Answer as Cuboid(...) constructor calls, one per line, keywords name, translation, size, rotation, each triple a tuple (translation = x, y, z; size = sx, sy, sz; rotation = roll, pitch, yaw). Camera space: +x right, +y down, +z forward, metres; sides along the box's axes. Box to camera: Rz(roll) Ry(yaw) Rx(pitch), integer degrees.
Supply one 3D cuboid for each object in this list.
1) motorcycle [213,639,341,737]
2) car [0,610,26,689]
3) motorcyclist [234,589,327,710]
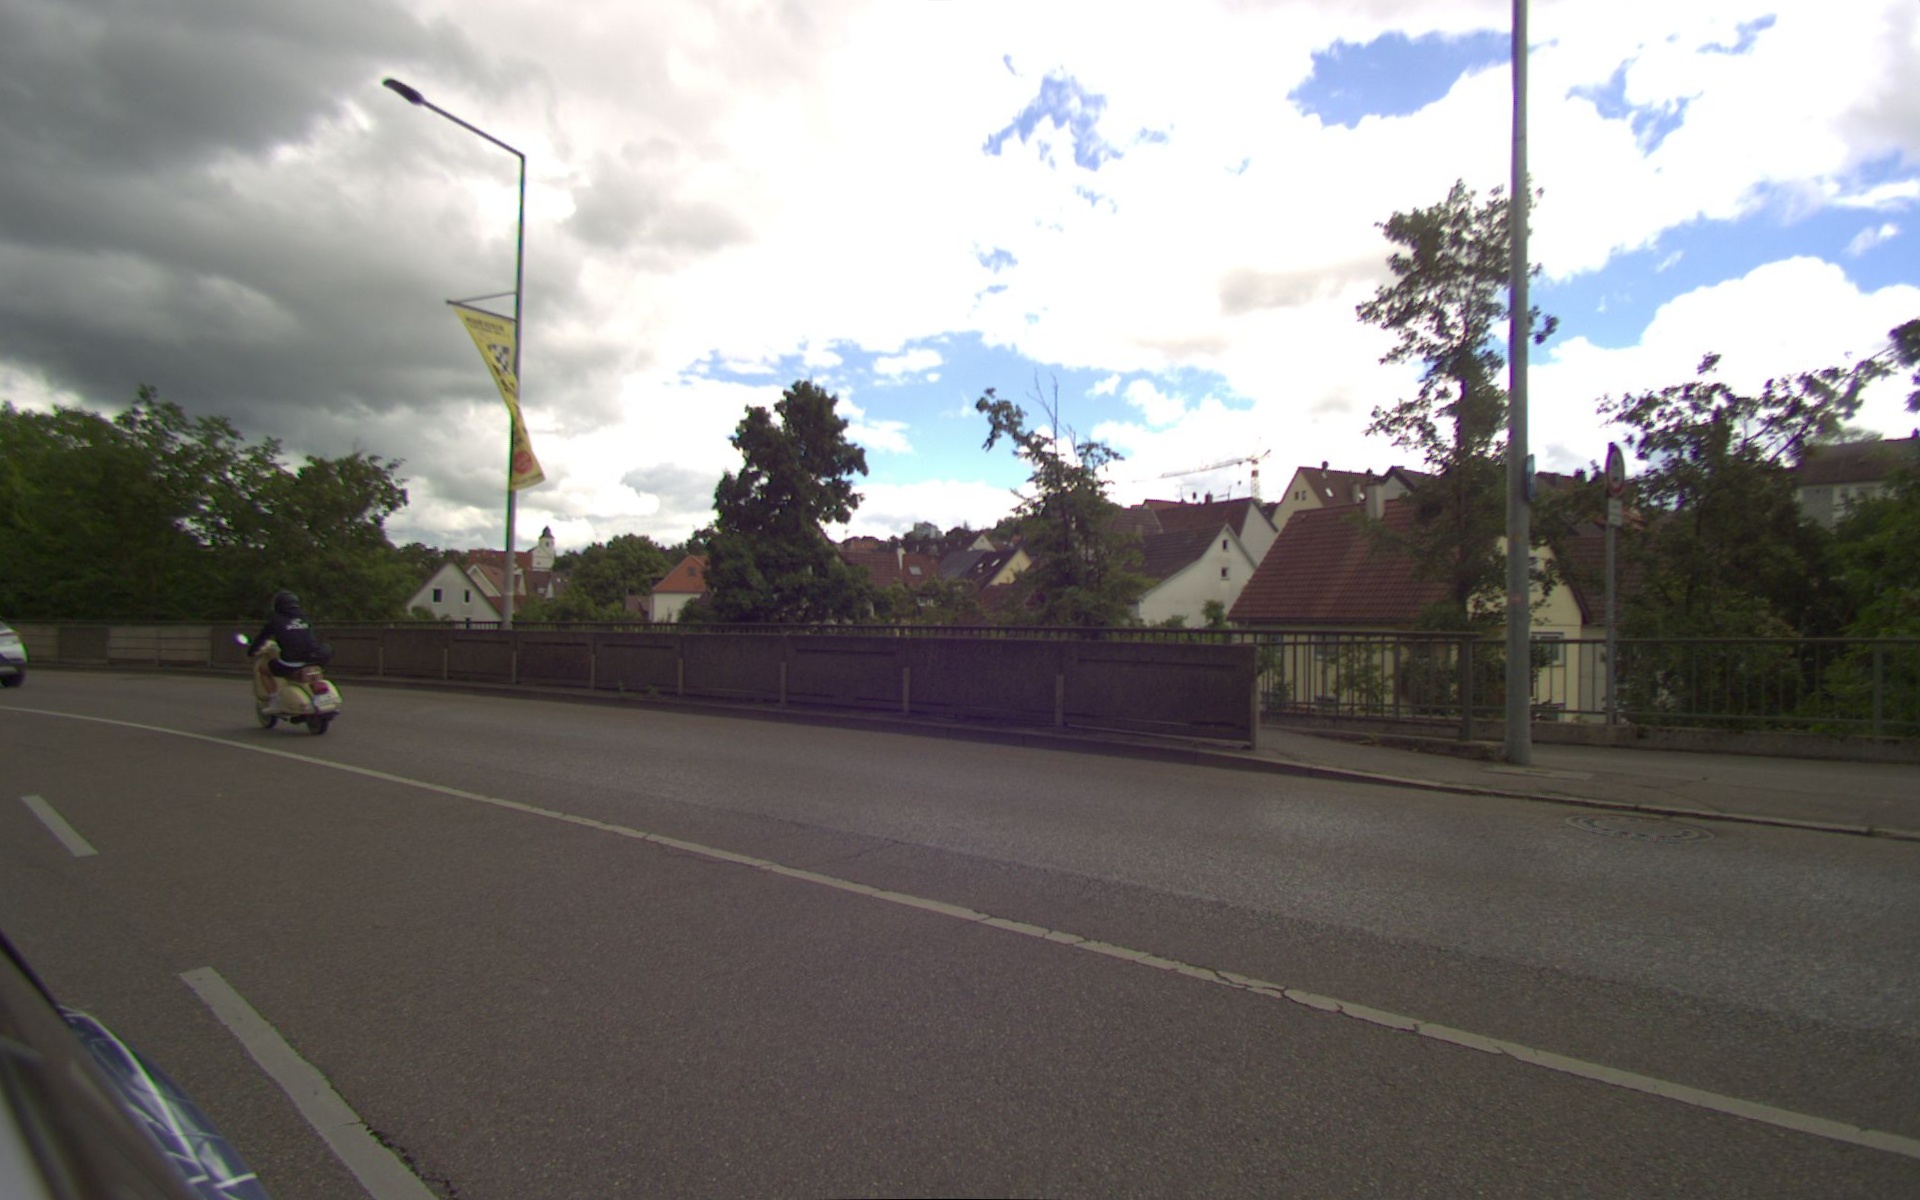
Cuboid(name="motorcycle", translation=(-8.186, 1.011, 12.111), size=(1.715, 1.069, 0.677), rotation=(-1, -2, 35))
Cuboid(name="car", translation=(-20.053, 0.964, 19.594), size=(3.635, 1.498, 1.737), rotation=(-1, 0, 27))
Cuboid(name="motorcyclist", translation=(-8.043, 0.574, 11.981), size=(0.838, 1.366, 0.614), rotation=(-1, -2, 34))
